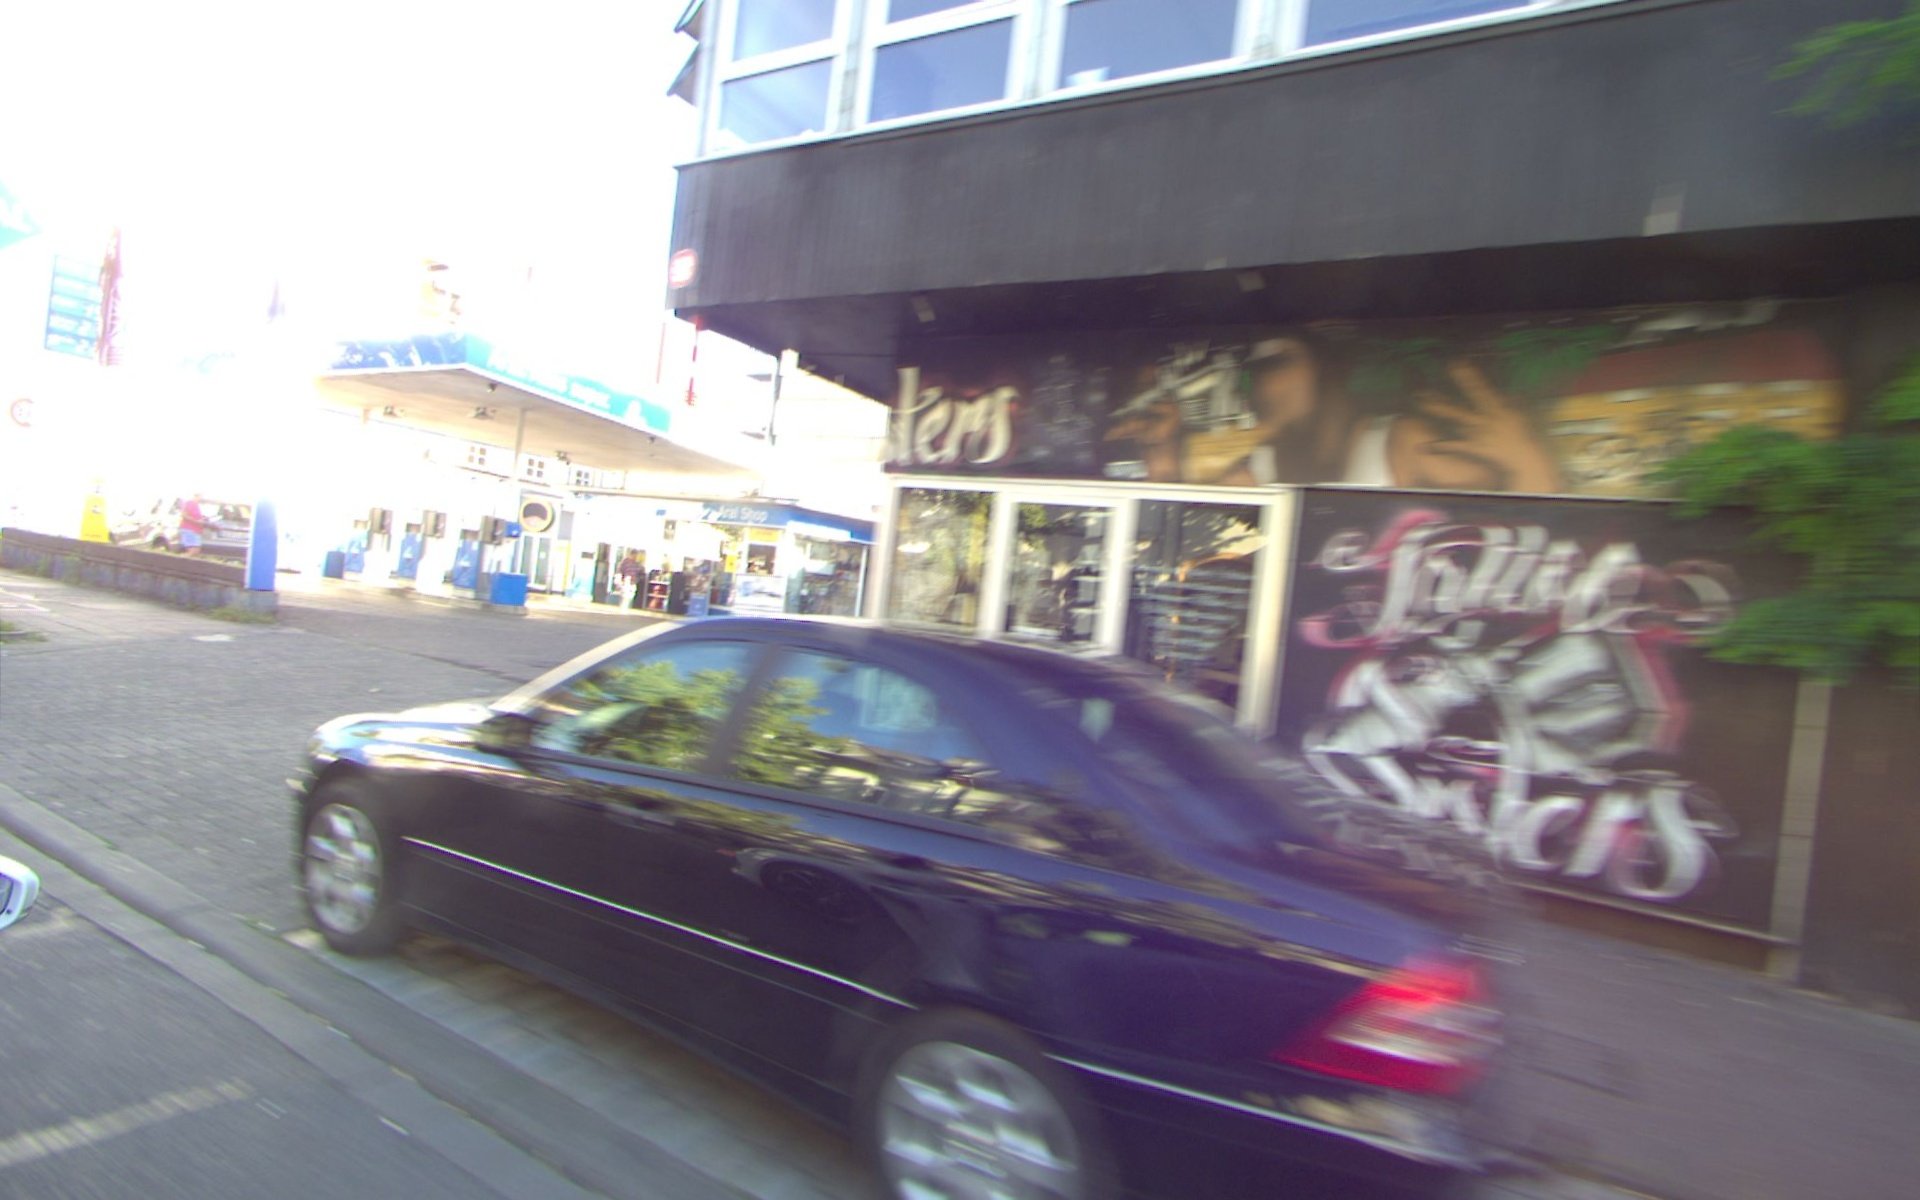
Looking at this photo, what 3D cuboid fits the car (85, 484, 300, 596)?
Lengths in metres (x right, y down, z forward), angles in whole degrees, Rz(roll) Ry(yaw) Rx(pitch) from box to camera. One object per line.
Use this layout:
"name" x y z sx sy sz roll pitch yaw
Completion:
"car" -14.888 -1.176 19.457 4.223 1.668 1.902 7 0 33

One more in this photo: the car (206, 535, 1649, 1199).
"car" -0.476 0.728 3.571 4.569 1.430 1.902 7 1 31

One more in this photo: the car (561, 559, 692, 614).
"car" -11.870 -0.454 36.012 1.968 1.482 3.990 7 0 33

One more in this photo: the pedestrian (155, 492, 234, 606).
"pedestrian" -13.353 -0.868 17.553 0.696 1.873 0.688 7 1 15

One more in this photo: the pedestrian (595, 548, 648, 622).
"pedestrian" -8.740 -0.383 26.006 0.806 1.763 0.818 7 0 19
